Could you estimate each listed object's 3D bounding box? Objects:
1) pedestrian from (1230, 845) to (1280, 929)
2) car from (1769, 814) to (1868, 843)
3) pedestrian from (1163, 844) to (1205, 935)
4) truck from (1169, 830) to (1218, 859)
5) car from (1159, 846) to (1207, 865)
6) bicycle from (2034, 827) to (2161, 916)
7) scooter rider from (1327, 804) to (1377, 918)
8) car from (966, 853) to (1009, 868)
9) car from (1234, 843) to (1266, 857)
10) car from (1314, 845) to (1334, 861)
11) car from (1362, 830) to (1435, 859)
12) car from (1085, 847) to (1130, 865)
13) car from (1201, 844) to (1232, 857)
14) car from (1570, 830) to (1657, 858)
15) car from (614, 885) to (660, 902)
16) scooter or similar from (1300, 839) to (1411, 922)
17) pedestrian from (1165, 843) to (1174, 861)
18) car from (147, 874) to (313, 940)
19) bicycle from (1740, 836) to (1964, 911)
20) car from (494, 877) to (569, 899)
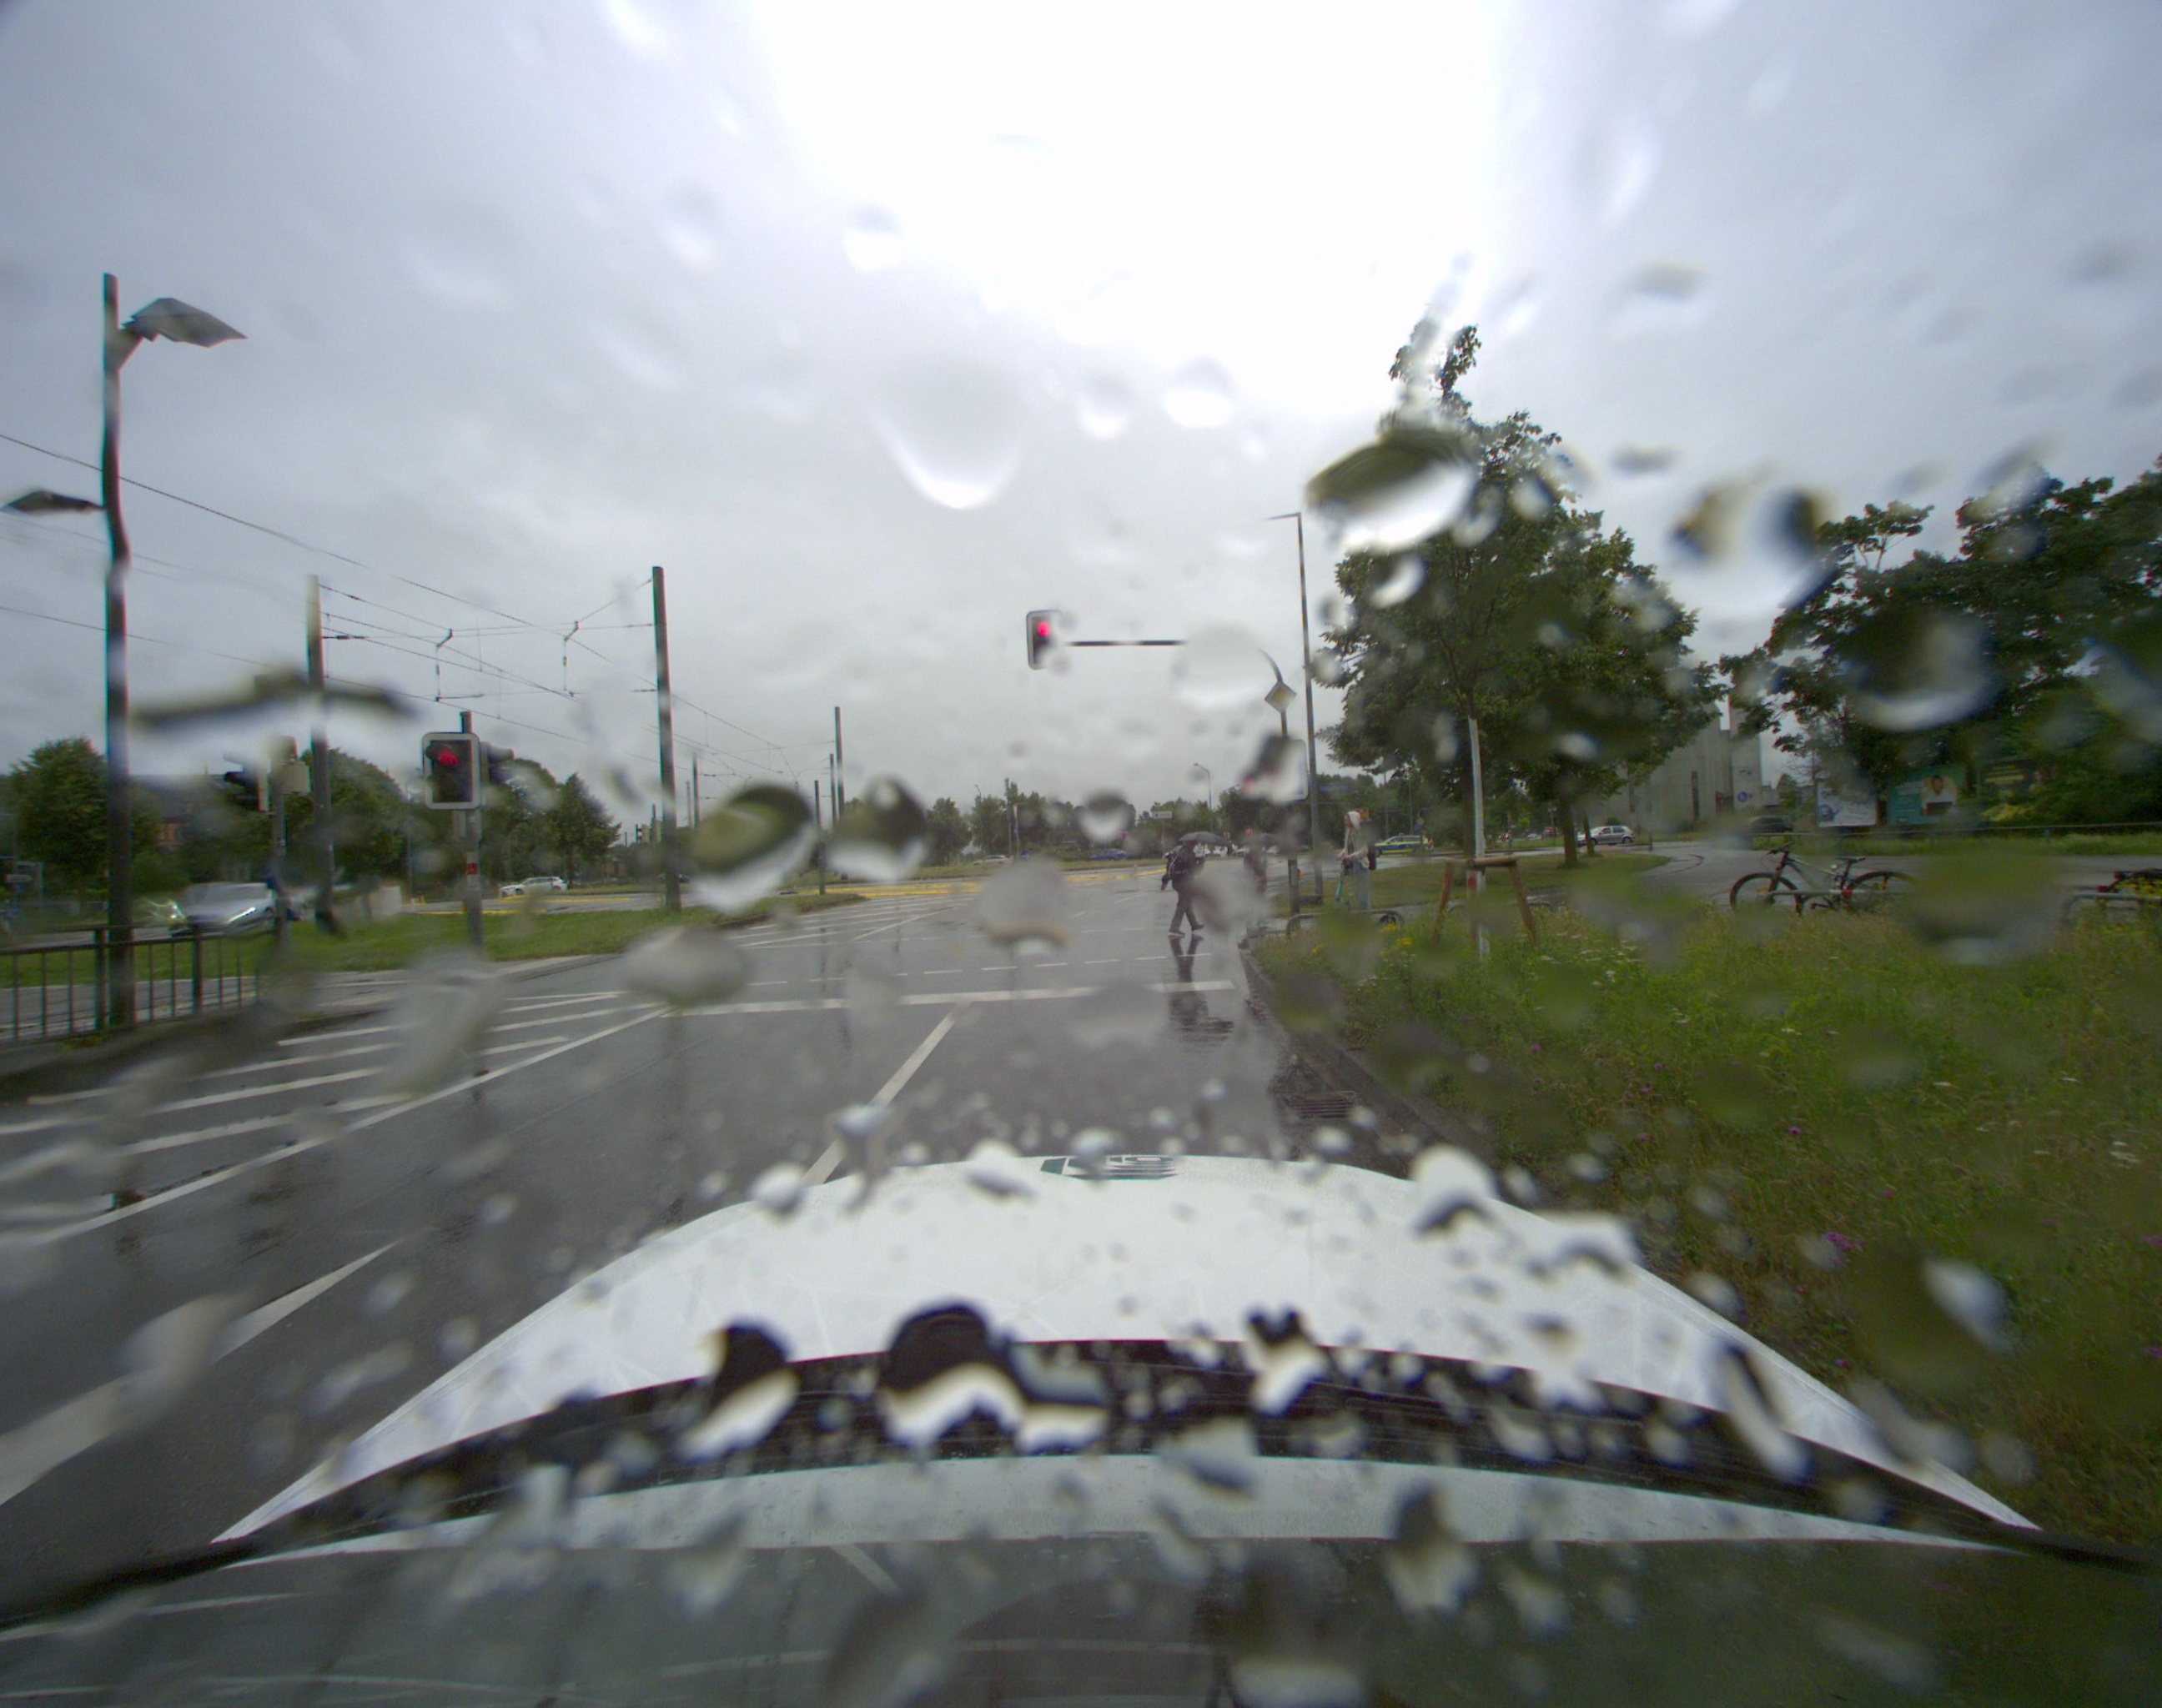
[{"bbox_3d":[3.160,0.598,14.812,0.678,1.461,0.573,-3,-1,-3],"label":"pedestrian"},{"bbox_3d":[50.839,-1.733,56.216,4.731,1.851,2.005,0,-1,9],"label":"car"},{"bbox_3d":[1.764,0.592,14.029,0.619,1.522,0.741,-1,0,0],"label":"pedestrian"},{"bbox_3d":[11.062,-0.865,79.458,2.439,2.686,8.105,-1,-1,25],"label":"truck"},{"bbox_3d":[8.787,0.130,70.557,1.632,1.454,3.939,-2,0,-42],"label":"car"},{"bbox_3d":[9.837,0.150,7.091,0.453,0.787,1.999,0,-1,-15],"label":"bicycle"},{"bbox_3d":[4.195,0.102,12.633,0.530,1.709,0.433,-3,0,-4],"label":"scooter rider"},{"bbox_3d":[-9.760,0.679,85.203,4.075,1.454,1.628,-2,0,9],"label":"car"},{"bbox_3d":[20.990,-0.436,101.117,1.779,1.662,4.436,-1,-1,43],"label":"car"},{"bbox_3d":[22.663,-0.110,76.025,1.606,1.454,4.003,-2,0,14],"label":"car"},{"bbox_3d":[22.586,-0.673,58.043,4.719,1.851,2.010,-2,0,21],"label":"car"},{"bbox_3d":[2.461,0.191,76.313,3.936,1.454,1.634,-2,0,38],"label":"car"},{"bbox_3d":[16.898,-0.415,101.358,1.779,1.662,4.159,-1,-1,43],"label":"car"},{"bbox_3d":[36.956,-0.668,56.567,4.743,1.851,2.000,0,-1,1],"label":"car"},{"bbox_3d":[-42.583,3.769,78.200,1.601,1.543,3.504,-1,-1,30],"label":"car"},{"bbox_3d":[4.248,0.399,12.630,1.582,1.259,0.447,0,-1,-4],"label":"scooter or similar"},{"bbox_3d":[6.507,-0.123,59.892,0.448,1.304,0.489,-2,0,41],"label":"pedestrian"},{"bbox_3d":[-24.778,1.465,23.945,2.005,1.627,4.364,-2,0,-28],"label":"car"},{"bbox_3d":[8.844,0.216,9.436,0.382,0.787,1.841,0,-1,-32],"label":"bicycle"},{"bbox_3d":[-43.779,2.730,64.966,1.602,1.454,4.653,-2,0,35],"label":"car"}]
